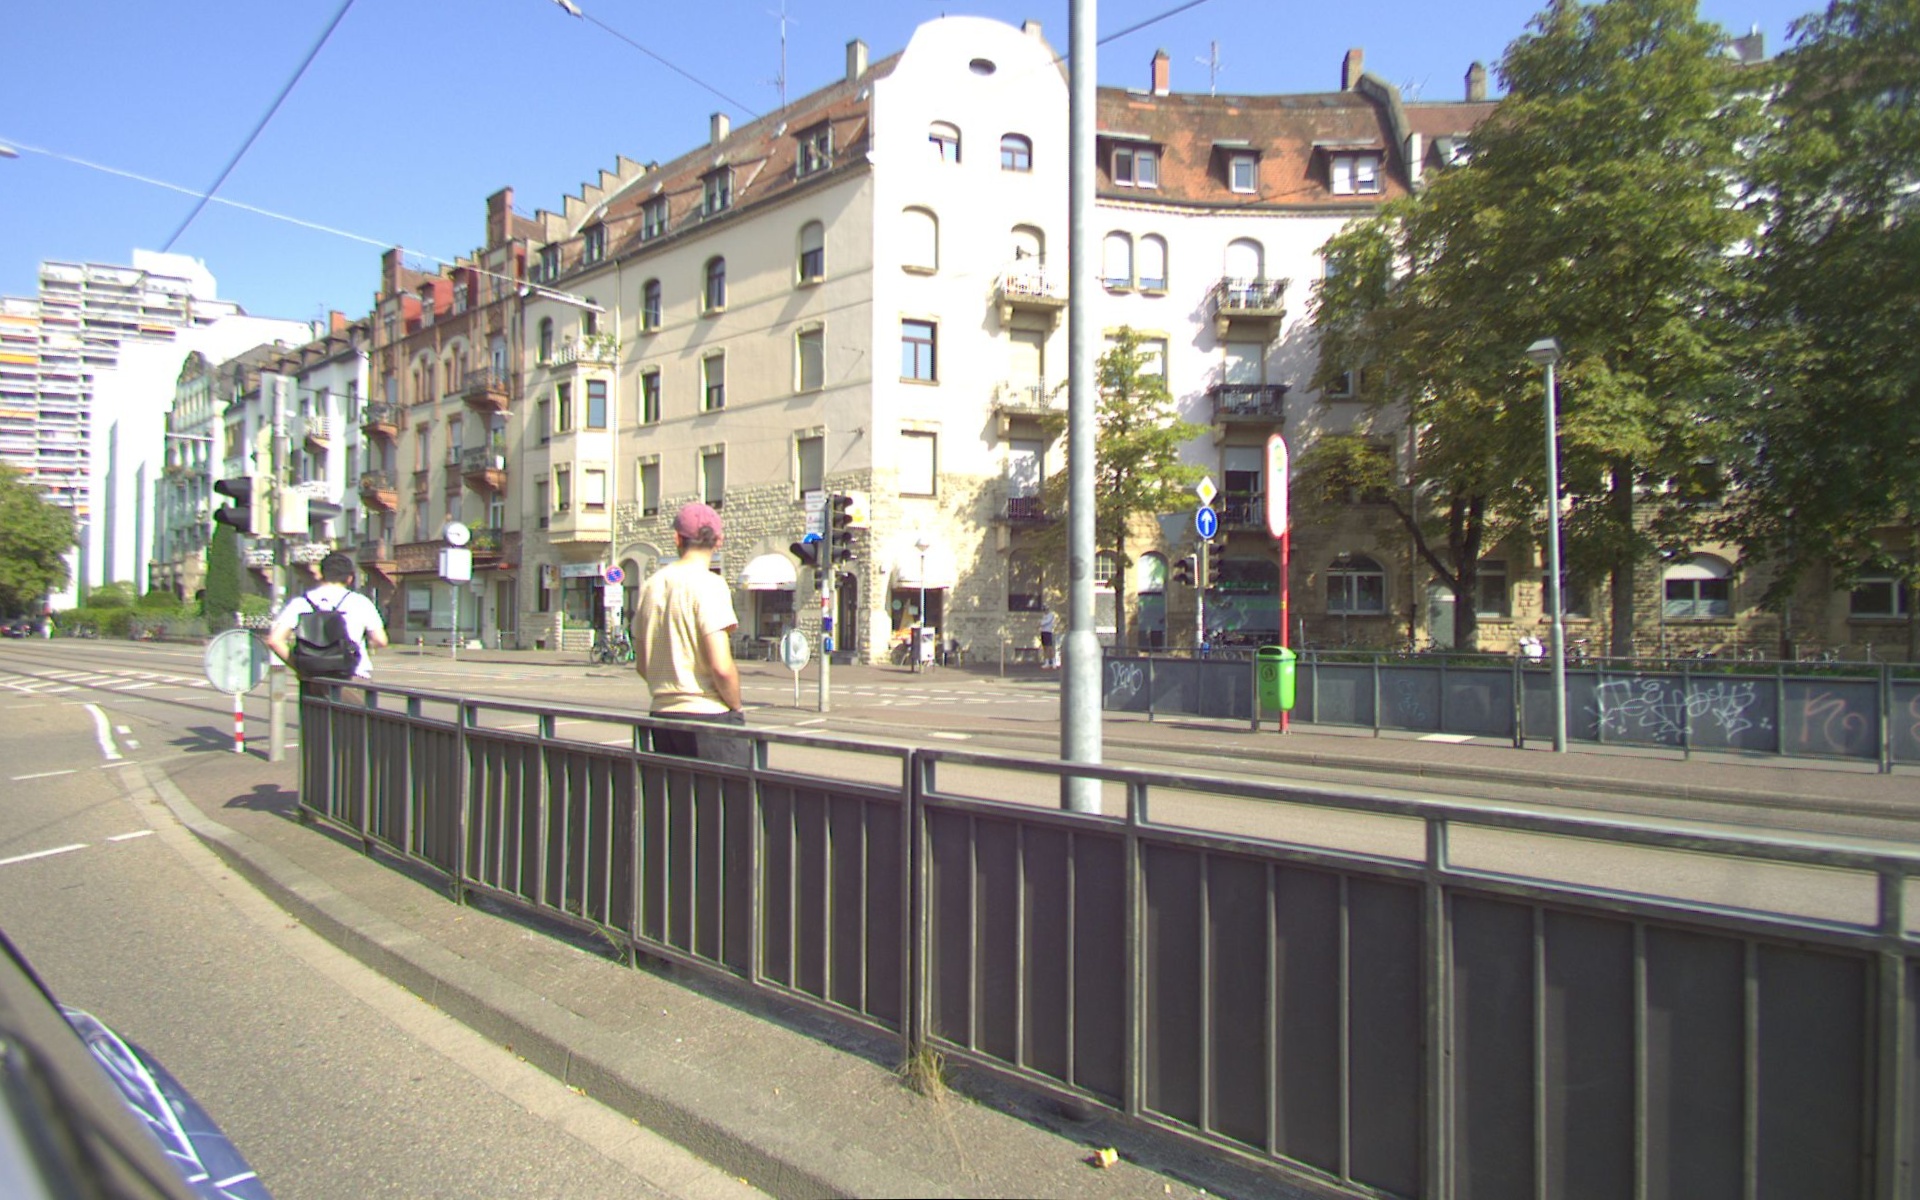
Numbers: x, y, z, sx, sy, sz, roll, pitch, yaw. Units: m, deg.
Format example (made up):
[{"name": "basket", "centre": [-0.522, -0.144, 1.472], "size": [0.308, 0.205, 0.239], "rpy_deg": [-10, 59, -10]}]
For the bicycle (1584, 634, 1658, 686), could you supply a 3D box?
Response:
[{"name": "bicycle", "centre": [18.447, 1.653, 28.316], "size": [0.858, 1.381, 2.296], "rpy_deg": [0, -2, 10]}]

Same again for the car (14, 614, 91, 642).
[{"name": "car", "centre": [-69.372, 2.130, 77.438], "size": [1.980, 2.029, 3.984], "rpy_deg": [0, -2, 12]}]

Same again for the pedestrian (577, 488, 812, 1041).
[{"name": "pedestrian", "centre": [-0.989, 0.545, 3.769], "size": [0.676, 1.816, 0.552], "rpy_deg": [-1, -2, 42]}]

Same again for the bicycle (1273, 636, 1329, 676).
[{"name": "bicycle", "centre": [9.802, 1.598, 29.191], "size": [0.686, 1.087, 2.343], "rpy_deg": [0, -1, -4]}]

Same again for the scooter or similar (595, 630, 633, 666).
[{"name": "scooter or similar", "centre": [-11.283, 1.564, 33.013], "size": [1.080, 1.167, 0.441], "rpy_deg": [0, -2, 3]}]

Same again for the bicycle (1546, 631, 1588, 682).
[{"name": "bicycle", "centre": [17.147, 1.572, 28.626], "size": [0.863, 1.381, 2.281], "rpy_deg": [-1, -2, 28]}]

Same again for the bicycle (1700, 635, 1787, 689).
[{"name": "bicycle", "centre": [21.233, 1.647, 27.486], "size": [0.858, 1.381, 2.296], "rpy_deg": [0, -2, 10]}]

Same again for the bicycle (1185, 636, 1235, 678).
[{"name": "bicycle", "centre": [7.115, 1.595, 28.883], "size": [0.686, 1.087, 2.344], "rpy_deg": [0, -1, -4]}]

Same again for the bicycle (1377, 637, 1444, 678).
[{"name": "bicycle", "centre": [12.707, 1.592, 28.610], "size": [0.686, 1.087, 2.343], "rpy_deg": [0, -1, -4]}]

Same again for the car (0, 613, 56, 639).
[{"name": "car", "centre": [-76.217, 2.104, 82.042], "size": [1.980, 2.029, 3.984], "rpy_deg": [0, -2, 12]}]

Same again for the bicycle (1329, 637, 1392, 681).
[{"name": "bicycle", "centre": [11.227, 1.633, 28.473], "size": [0.686, 1.087, 2.344], "rpy_deg": [0, 0, -4]}]

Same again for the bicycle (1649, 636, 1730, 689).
[{"name": "bicycle", "centre": [19.942, 1.678, 27.734], "size": [0.858, 1.381, 2.296], "rpy_deg": [0, -2, 10]}]

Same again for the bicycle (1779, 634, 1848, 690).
[{"name": "bicycle", "centre": [22.692, 1.617, 26.951], "size": [0.863, 1.381, 2.282], "rpy_deg": [-1, -2, 26]}]

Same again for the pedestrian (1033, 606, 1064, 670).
[{"name": "pedestrian", "centre": [2.635, 1.115, 30.072], "size": [0.671, 1.882, 0.727], "rpy_deg": [-1, -2, 35]}]

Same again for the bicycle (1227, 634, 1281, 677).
[{"name": "bicycle", "centre": [8.308, 1.548, 28.707], "size": [0.686, 1.087, 2.344], "rpy_deg": [0, 0, -4]}]

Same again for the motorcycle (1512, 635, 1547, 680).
[{"name": "motorcycle", "centre": [16.273, 1.617, 28.931], "size": [0.673, 1.186, 1.869], "rpy_deg": [0, 0, 23]}]

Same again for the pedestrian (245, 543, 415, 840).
[{"name": "pedestrian", "centre": [-4.101, 0.559, 6.586], "size": [0.738, 1.783, 0.721], "rpy_deg": [-4, -2, 42]}]

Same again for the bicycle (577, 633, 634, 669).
[{"name": "bicycle", "centre": [-11.303, 1.603, 32.239], "size": [1.886, 1.112, 0.541], "rpy_deg": [0, -2, 26]}]

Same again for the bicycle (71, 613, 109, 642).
[{"name": "bicycle", "centre": [-58.527, 1.811, 68.083], "size": [3.545, 1.872, 1.004], "rpy_deg": [0, 0, 33]}]
